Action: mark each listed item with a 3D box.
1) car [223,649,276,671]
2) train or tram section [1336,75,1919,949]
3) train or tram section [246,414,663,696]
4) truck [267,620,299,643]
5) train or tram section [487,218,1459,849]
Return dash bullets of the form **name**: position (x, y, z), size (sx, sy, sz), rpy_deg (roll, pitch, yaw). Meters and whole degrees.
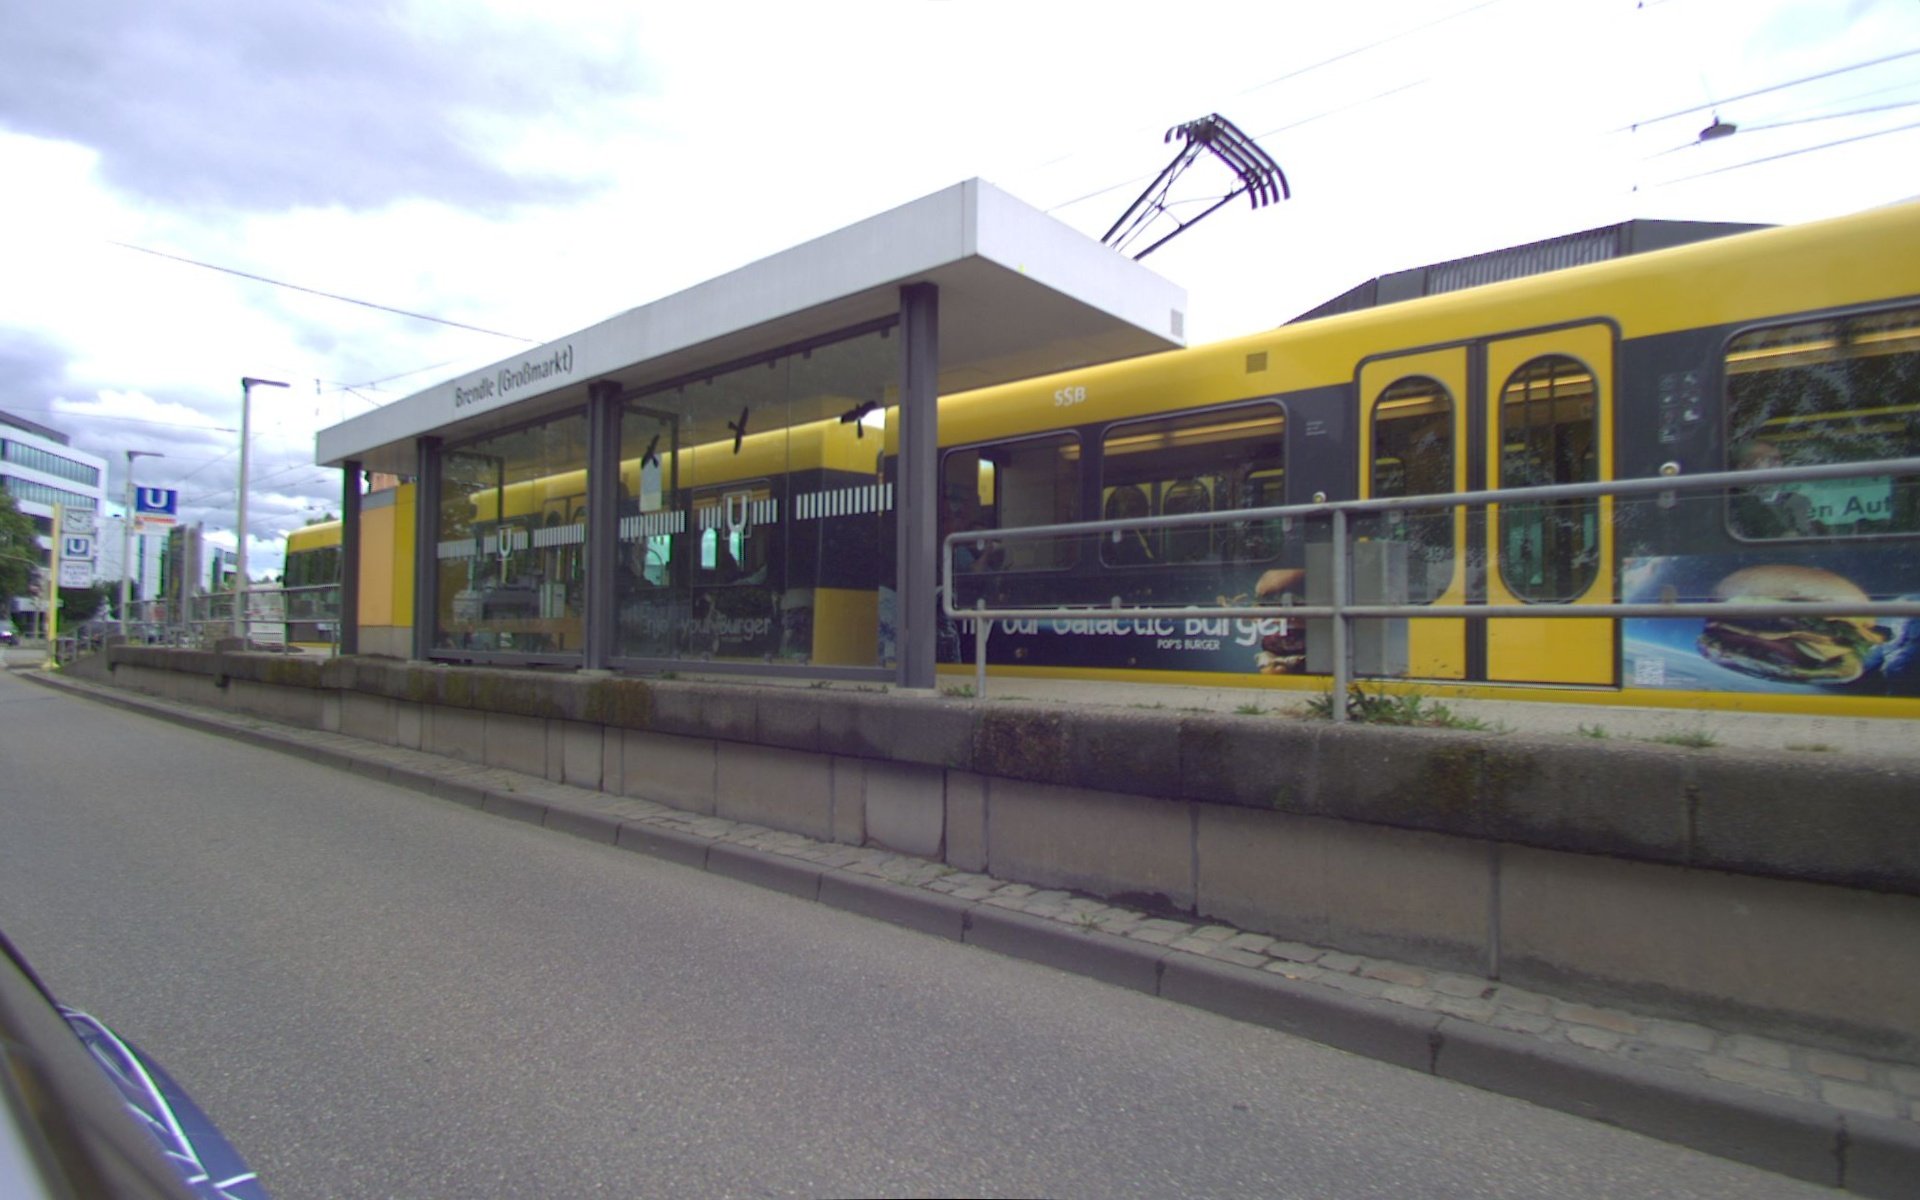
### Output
- **car**: position (-60.333, 5.078, 85.937), size (3.969, 1.536, 1.693), rpy_deg (2, 1, 19)
- **train or tram section**: position (7.760, -0.487, 3.468), size (11.905, 3.997, 2.712), rpy_deg (-3, -4, 41)
- **train or tram section**: position (-10.180, -0.403, 19.225), size (11.905, 3.997, 2.712), rpy_deg (-3, -4, 41)
- **truck**: position (-77.691, 3.658, 116.203), size (2.281, 2.440, 5.672), rpy_deg (3, -3, -27)
- **train or tram section**: position (-1.244, -0.208, 11.334), size (11.905, 3.997, 2.712), rpy_deg (-3, -4, 41)
